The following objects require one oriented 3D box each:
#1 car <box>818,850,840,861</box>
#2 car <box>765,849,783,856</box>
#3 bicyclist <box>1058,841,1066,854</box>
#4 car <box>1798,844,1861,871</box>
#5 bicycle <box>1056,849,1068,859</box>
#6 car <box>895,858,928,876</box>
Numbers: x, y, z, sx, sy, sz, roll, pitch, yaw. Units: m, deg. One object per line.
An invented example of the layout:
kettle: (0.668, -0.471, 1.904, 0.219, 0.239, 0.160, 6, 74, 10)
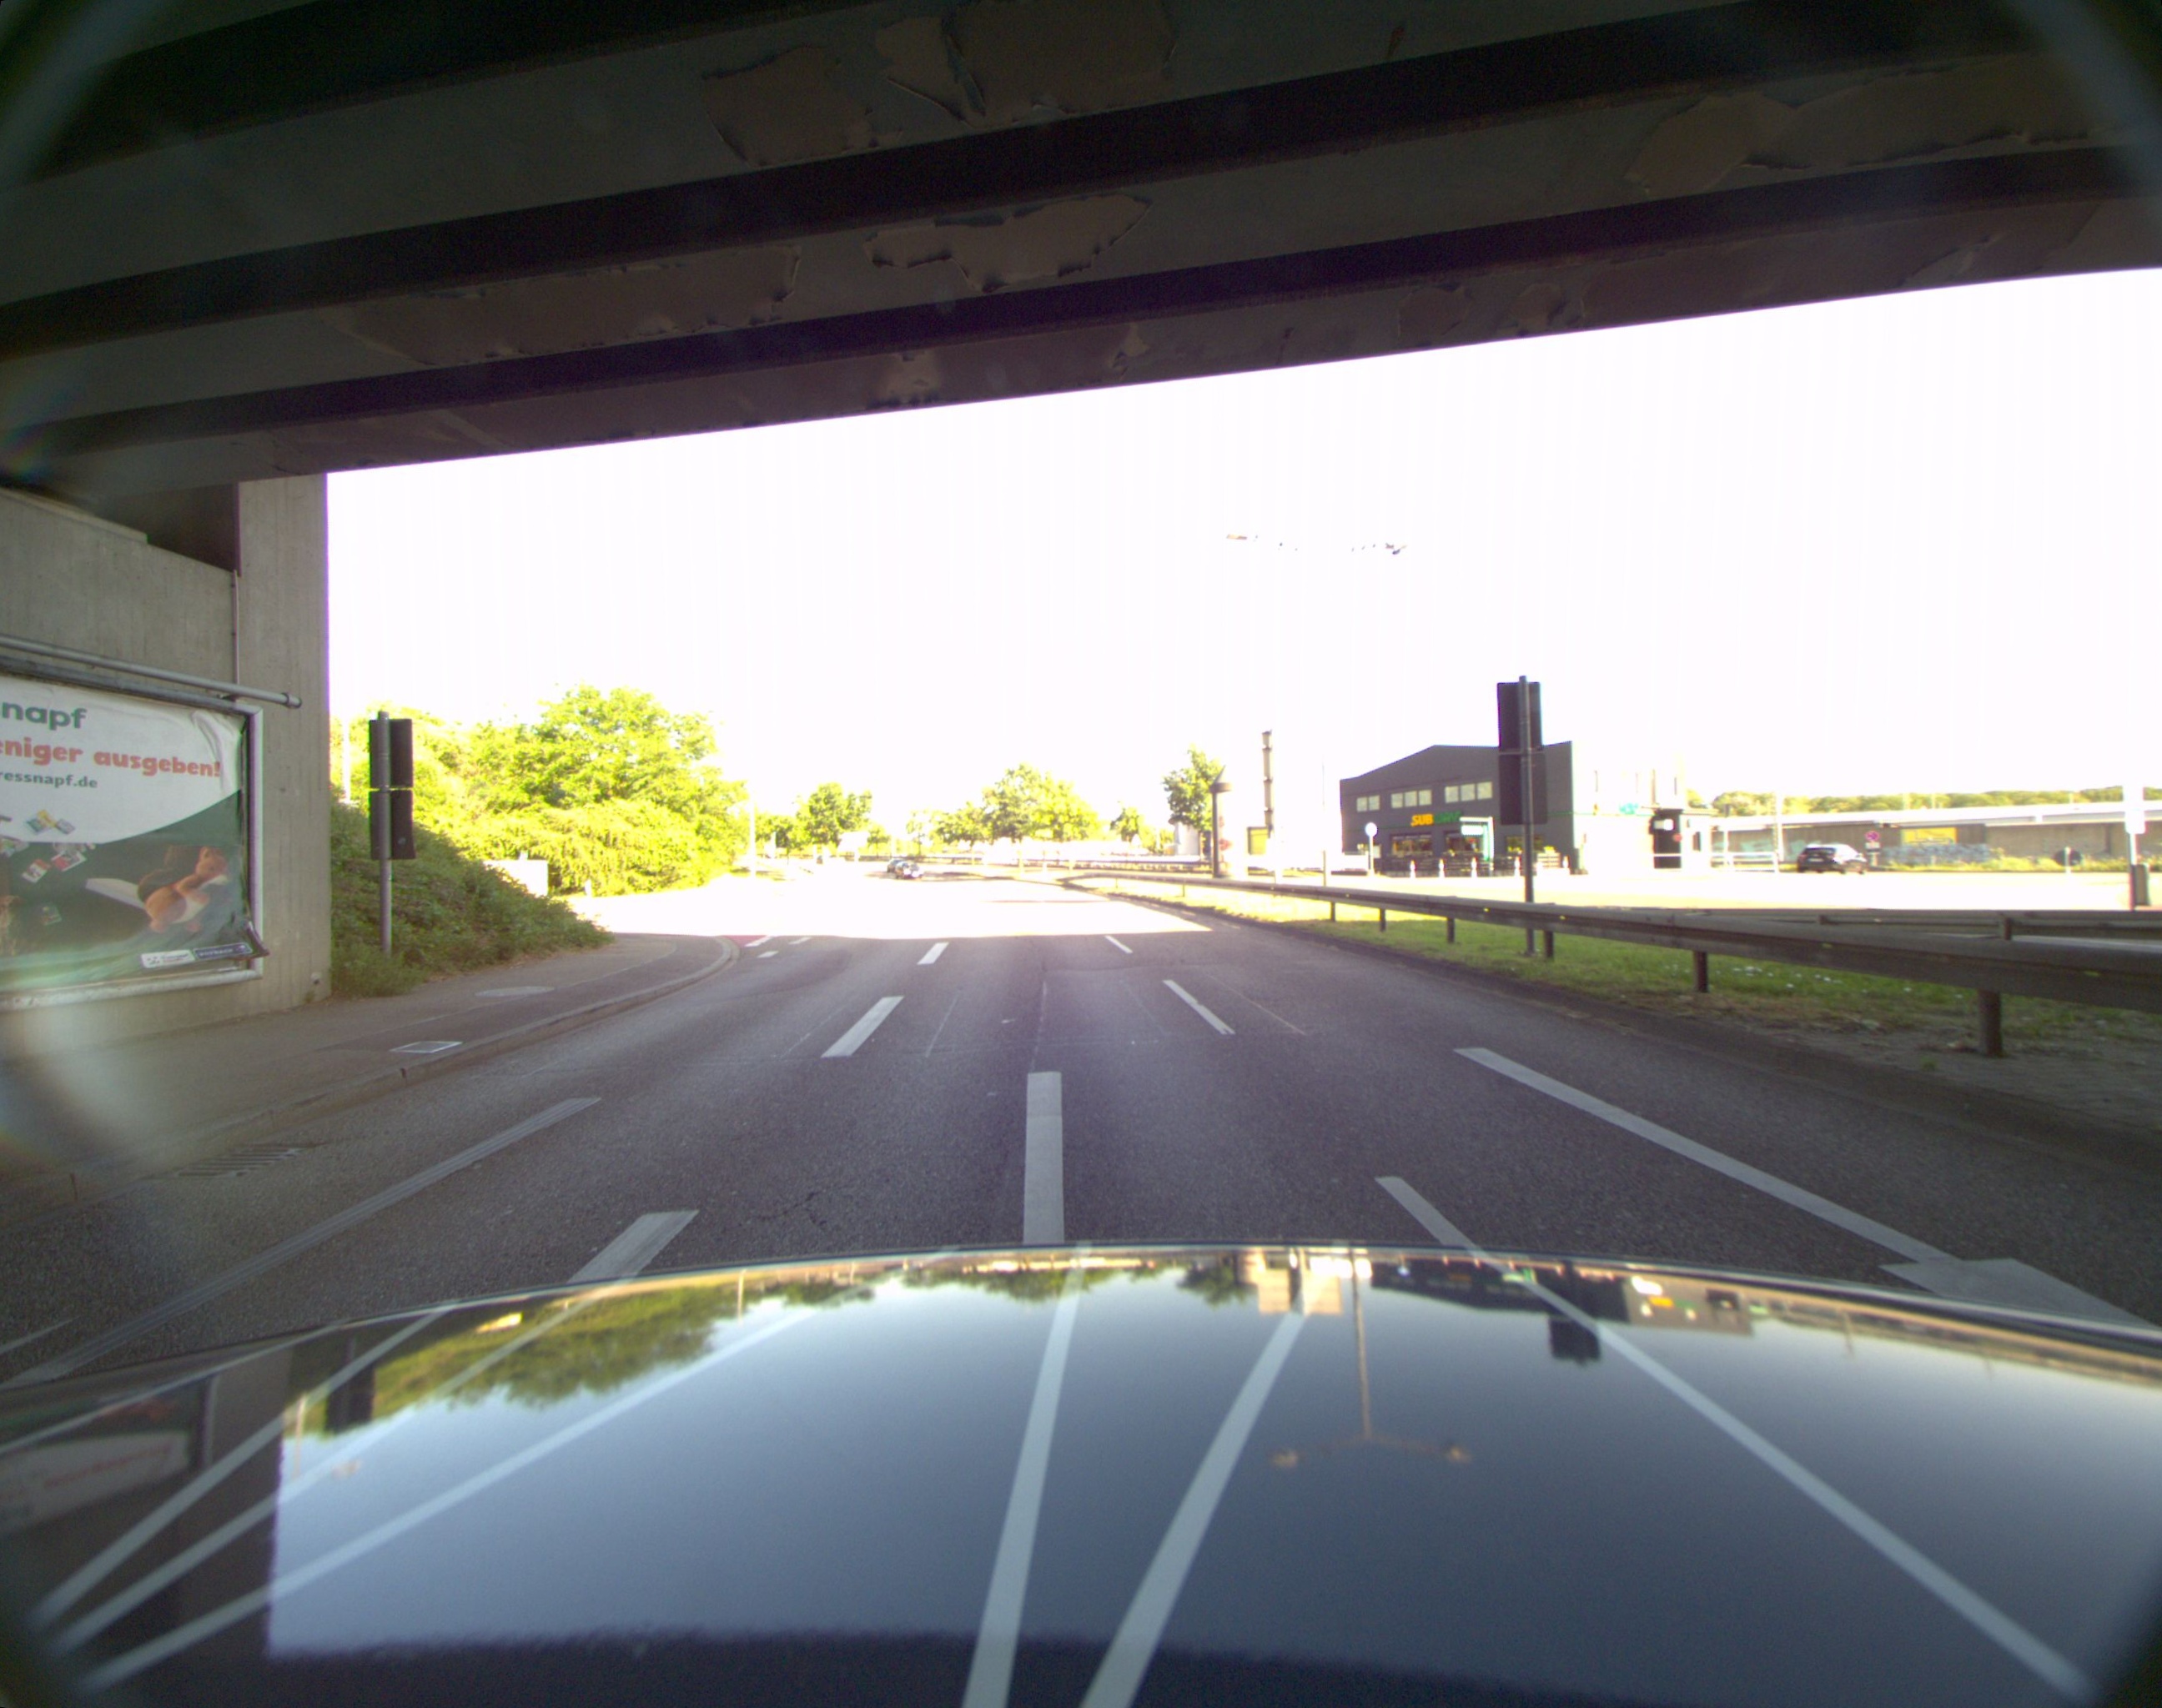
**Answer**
car: (-35.416, 0.242, 106.550, 1.860, 1.471, 4.219, -2, 0, -34)
car: (-55.921, -0.277, 138.305, 1.752, 1.274, 4.170, 1, 0, -41)
bicyclist: (-2.139, -0.751, 84.019, 0.594, 1.419, 0.707, -3, 1, -28)
car: (38.368, 0.194, 38.911, 4.191, 1.274, 1.825, 1, 0, -39)
bicycle: (-2.113, 0.004, 84.042, 0.594, 1.017, 1.746, -3, 1, -28)
car: (-14.829, 1.130, 66.268, 1.741, 1.411, 4.310, -1, -2, -28)
